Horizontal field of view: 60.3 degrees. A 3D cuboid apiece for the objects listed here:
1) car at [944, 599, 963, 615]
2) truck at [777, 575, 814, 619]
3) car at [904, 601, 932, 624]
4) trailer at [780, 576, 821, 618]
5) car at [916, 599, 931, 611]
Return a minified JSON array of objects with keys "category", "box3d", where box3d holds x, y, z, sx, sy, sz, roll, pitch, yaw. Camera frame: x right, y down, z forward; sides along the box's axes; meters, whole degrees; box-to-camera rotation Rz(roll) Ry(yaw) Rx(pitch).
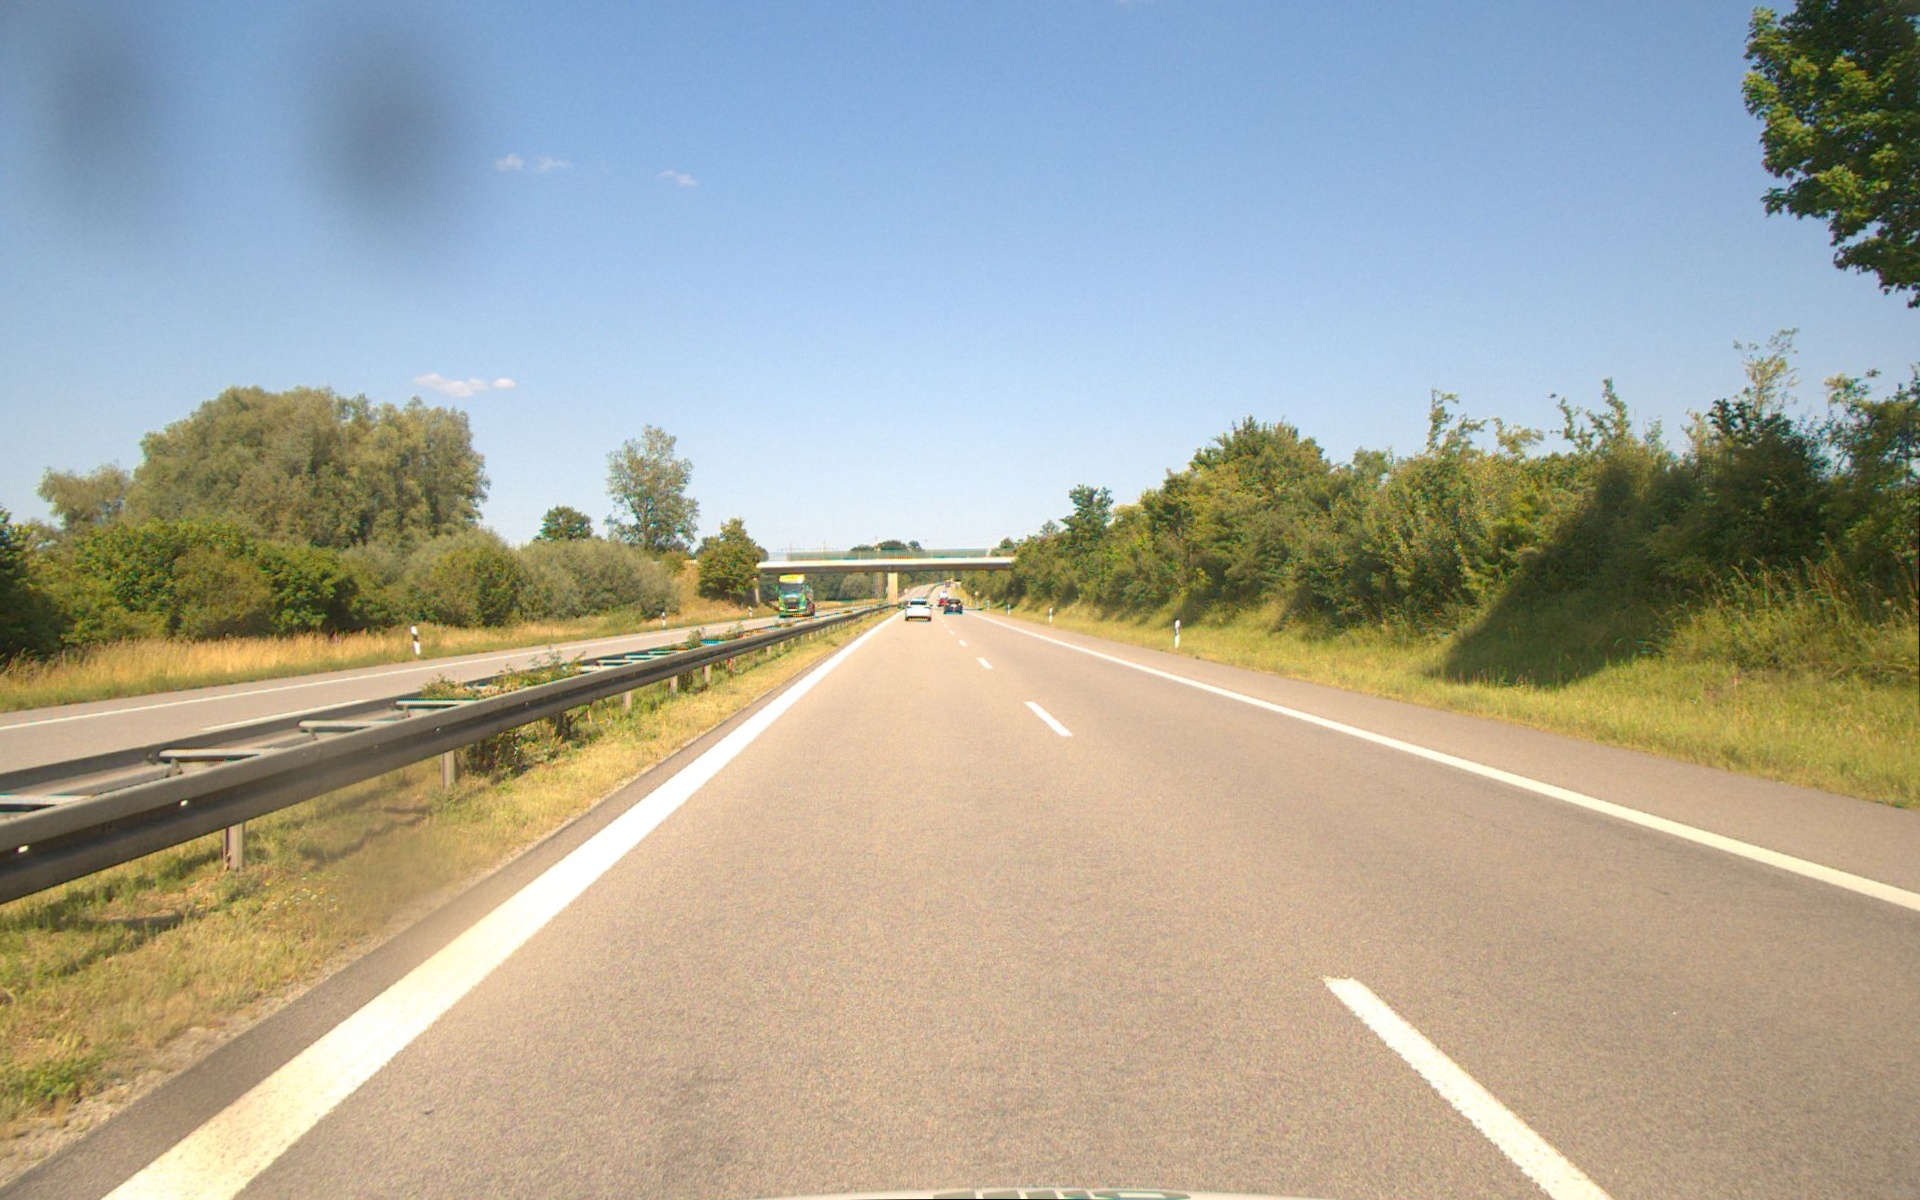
[{"category":"car","box3d":[-0.637,0.674,163.624,1.806,1.546,3.999,1,0,-2]},{"category":"truck","box3d":[-14.913,-0.266,150.091,2.896,3.796,5.566,-1,0,-2]},{"category":"car","box3d":[-2.839,0.830,110.816,1.806,1.440,3.999,1,0,-2]},{"category":"trailer","box3d":[-15.073,-0.265,156.897,2.920,3.796,12.415,-1,0,-2]},{"category":"car","box3d":[-4.644,0.675,209.415,1.806,1.461,3.999,1,0,-2]}]
